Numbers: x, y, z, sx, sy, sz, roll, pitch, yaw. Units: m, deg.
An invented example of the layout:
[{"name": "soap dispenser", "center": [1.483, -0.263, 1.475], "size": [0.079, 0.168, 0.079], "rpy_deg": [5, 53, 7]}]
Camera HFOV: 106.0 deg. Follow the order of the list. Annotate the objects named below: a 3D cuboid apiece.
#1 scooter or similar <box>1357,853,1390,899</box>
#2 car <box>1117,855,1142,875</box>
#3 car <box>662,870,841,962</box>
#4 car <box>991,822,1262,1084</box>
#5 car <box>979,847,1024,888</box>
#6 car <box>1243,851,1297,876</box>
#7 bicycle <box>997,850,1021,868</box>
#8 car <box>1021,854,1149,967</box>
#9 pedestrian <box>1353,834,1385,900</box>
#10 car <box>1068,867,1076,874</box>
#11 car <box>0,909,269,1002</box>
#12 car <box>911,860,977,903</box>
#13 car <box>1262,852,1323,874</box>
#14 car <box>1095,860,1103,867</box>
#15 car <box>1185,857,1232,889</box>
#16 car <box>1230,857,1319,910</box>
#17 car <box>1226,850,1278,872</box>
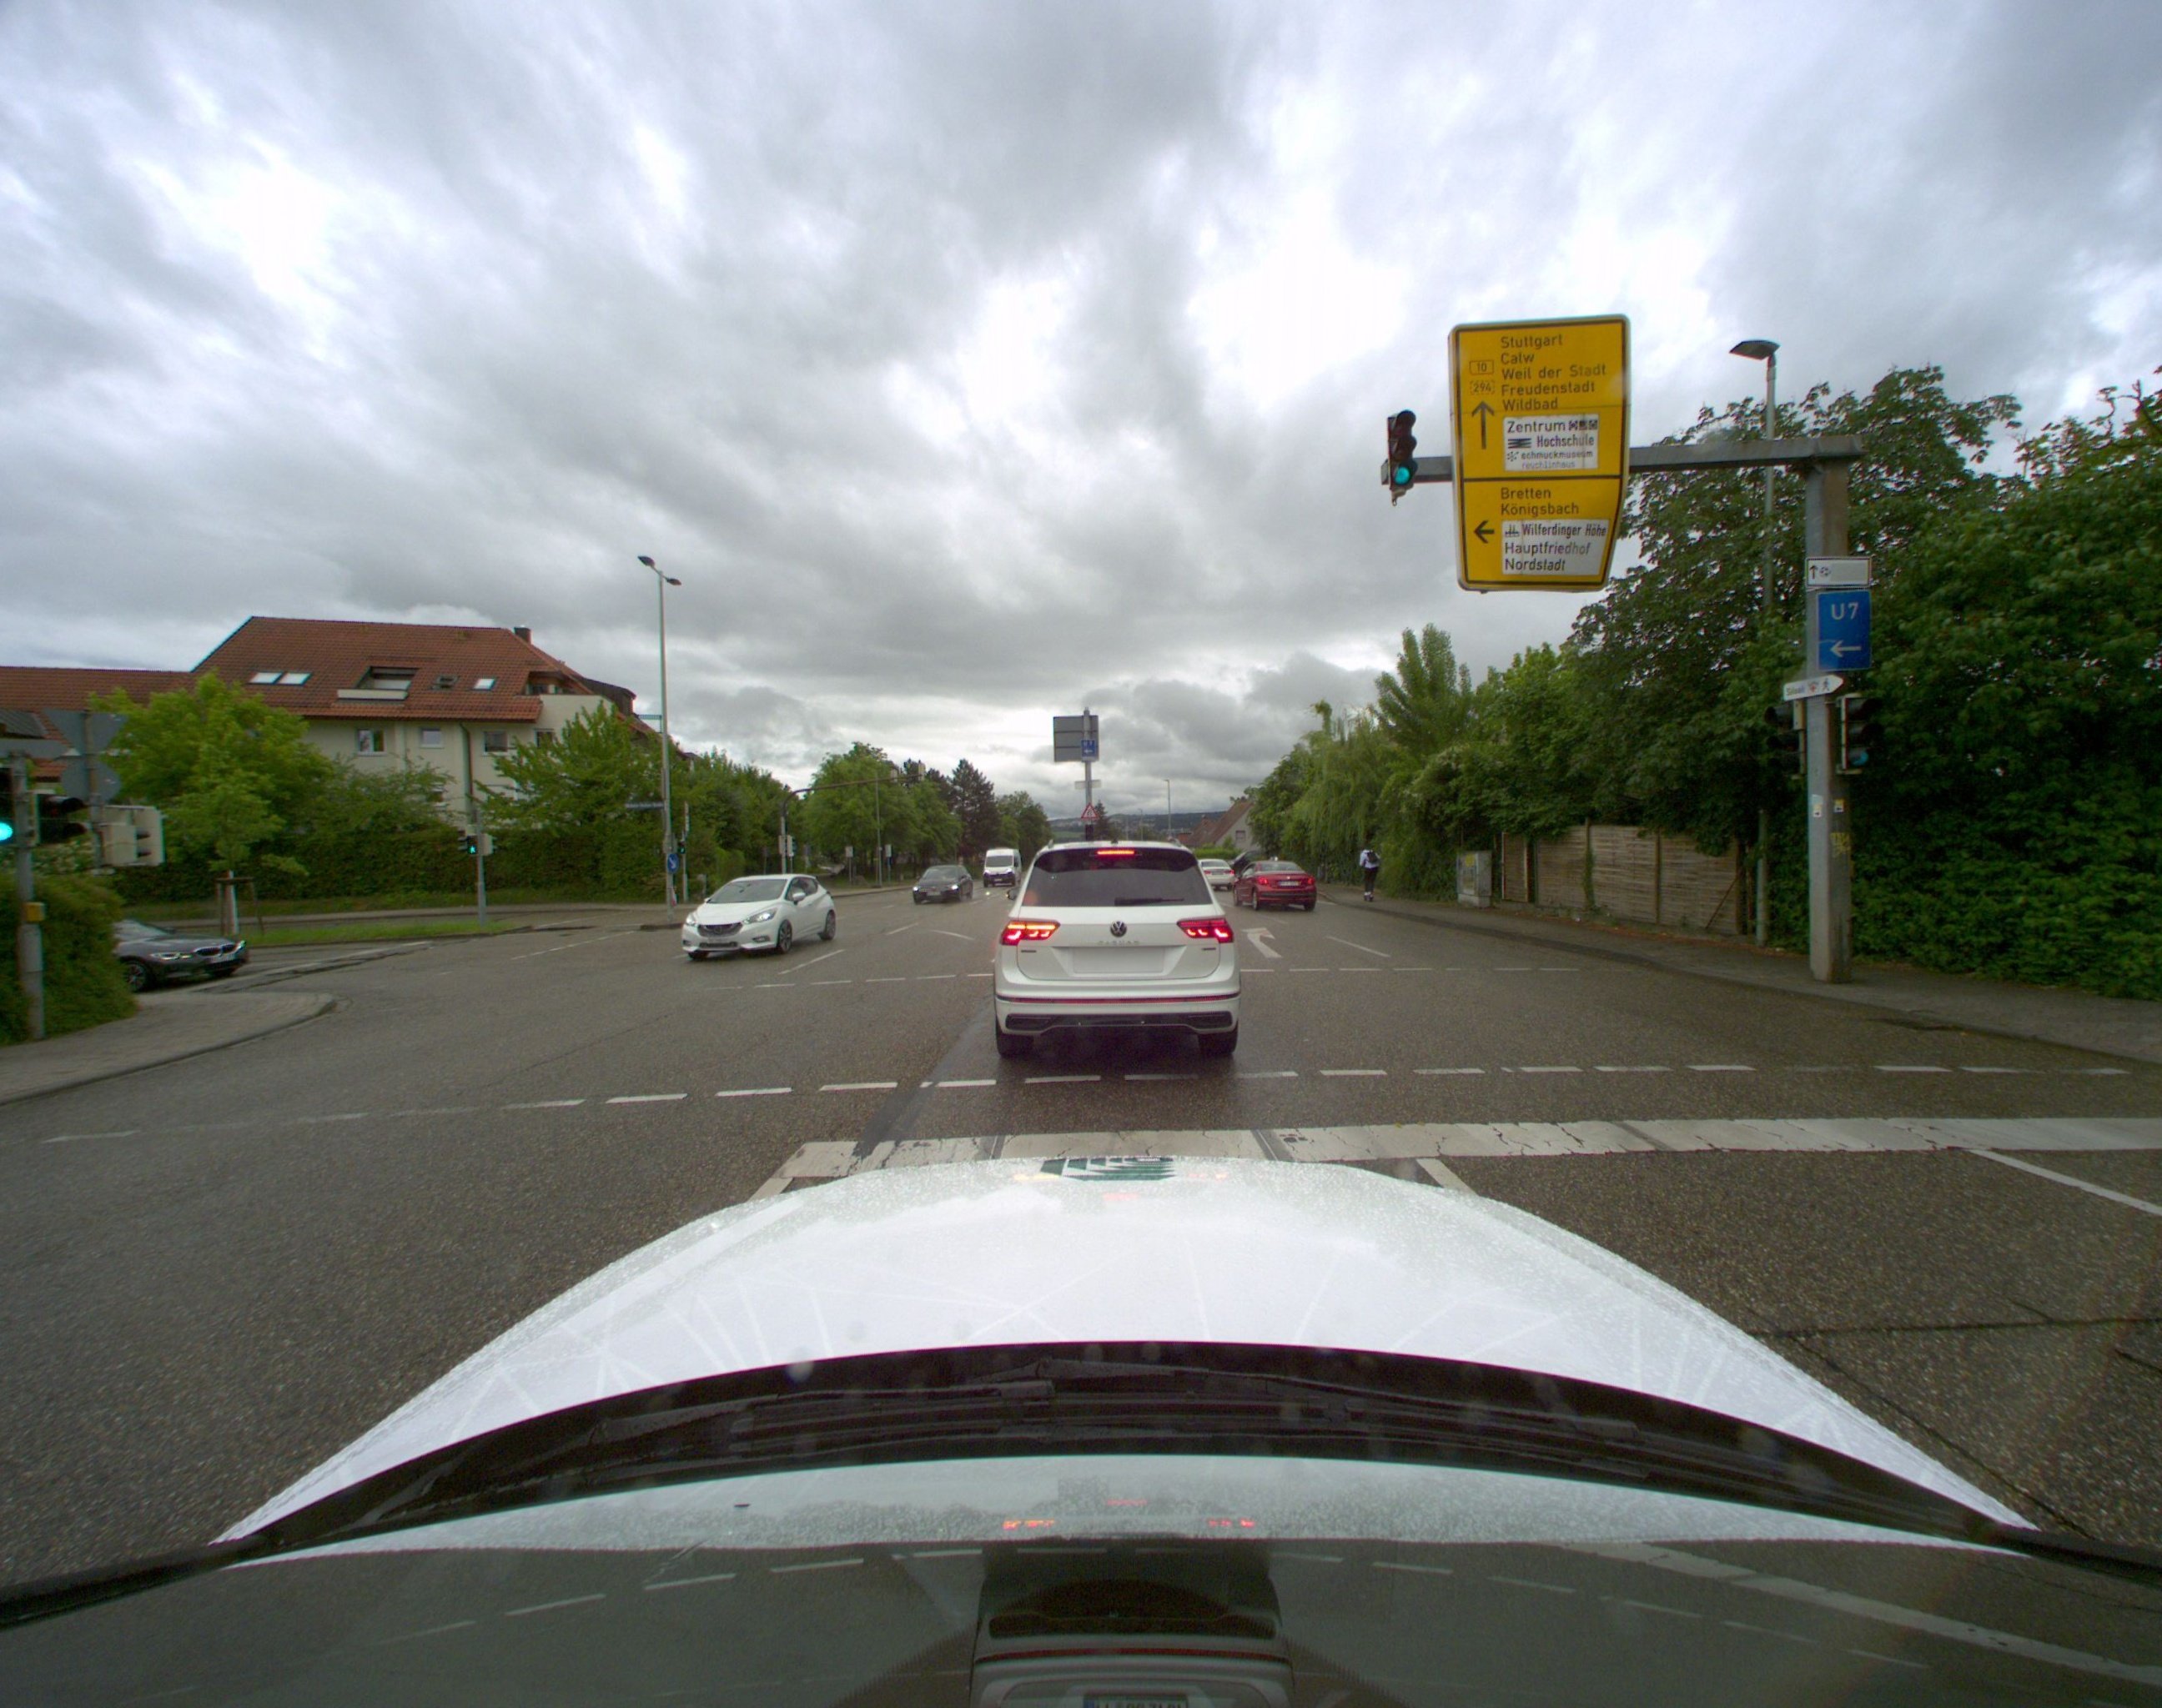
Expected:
[{"name": "scooter or similar", "center": [8.974, 0.653, 25.059], "size": [0.460, 1.361, 1.384], "rpy_deg": [-1, 0, -2]}, {"name": "car", "center": [3.890, 0.894, 65.834], "size": [1.730, 1.575, 4.067], "rpy_deg": [0, 0, 0]}, {"name": "car", "center": [-6.171, 1.097, 15.772], "size": [1.739, 1.397, 3.804], "rpy_deg": [-3, 0, 2]}, {"name": "car", "center": [0.337, 0.650, 7.465], "size": [1.756, 1.696, 4.273], "rpy_deg": [1, 0, 1]}, {"name": "car", "center": [-5.280, 0.829, 54.821], "size": [2.289, 2.528, 5.774], "rpy_deg": [-2, 0, 1]}, {"name": "car", "center": [14.313, 0.701, 61.756], "size": [3.618, 1.746, 1.707], "rpy_deg": [-1, 1, -2]}, {"name": "bicycle", "center": [-5.123, 0.353, 57.960], "size": [1.631, 1.126, 0.468], "rpy_deg": [-3, 0, 0]}, {"name": "car", "center": [0.133, 0.806, 13.489], "size": [1.791, 1.589, 3.928], "rpy_deg": [-1, 0, 2]}, {"name": "pedestrian", "center": [8.880, 0.402, 25.155], "size": [0.654, 2.002, 0.717], "rpy_deg": [-1, -1, -4]}, {"name": "car", "center": [-2.437, 4.336, 216.777], "size": [1.986, 1.728, 4.001], "rpy_deg": [0, -1, 2]}, {"name": "car", "center": [-19.804, 2.057, 16.595], "size": [4.413, 1.393, 1.774], "rpy_deg": [-4, 1, -5]}, {"name": "car", "center": [-5.477, 1.064, 33.094], "size": [1.770, 1.502, 4.472], "rpy_deg": [-3, 0, 1]}, {"name": "car", "center": [14.573, 0.652, 56.308], "size": [3.709, 1.395, 1.725], "rpy_deg": [-2, -2, -6]}, {"name": "car", "center": [4.403, 2.364, 200.750], "size": [1.843, 1.574, 4.002], "rpy_deg": [-2, 0, 2]}, {"name": "car", "center": [6.036, 0.873, 38.899], "size": [1.658, 1.427, 4.306], "rpy_deg": [0, 0, 1]}, {"name": "car", "center": [5.553, 0.810, 23.803], "size": [1.621, 1.403, 3.687], "rpy_deg": [0, 0, -2]}, {"name": "car", "center": [13.428, 0.517, 64.011], "size": [3.618, 1.626, 1.790], "rpy_deg": [-1, 1, -3]}]
